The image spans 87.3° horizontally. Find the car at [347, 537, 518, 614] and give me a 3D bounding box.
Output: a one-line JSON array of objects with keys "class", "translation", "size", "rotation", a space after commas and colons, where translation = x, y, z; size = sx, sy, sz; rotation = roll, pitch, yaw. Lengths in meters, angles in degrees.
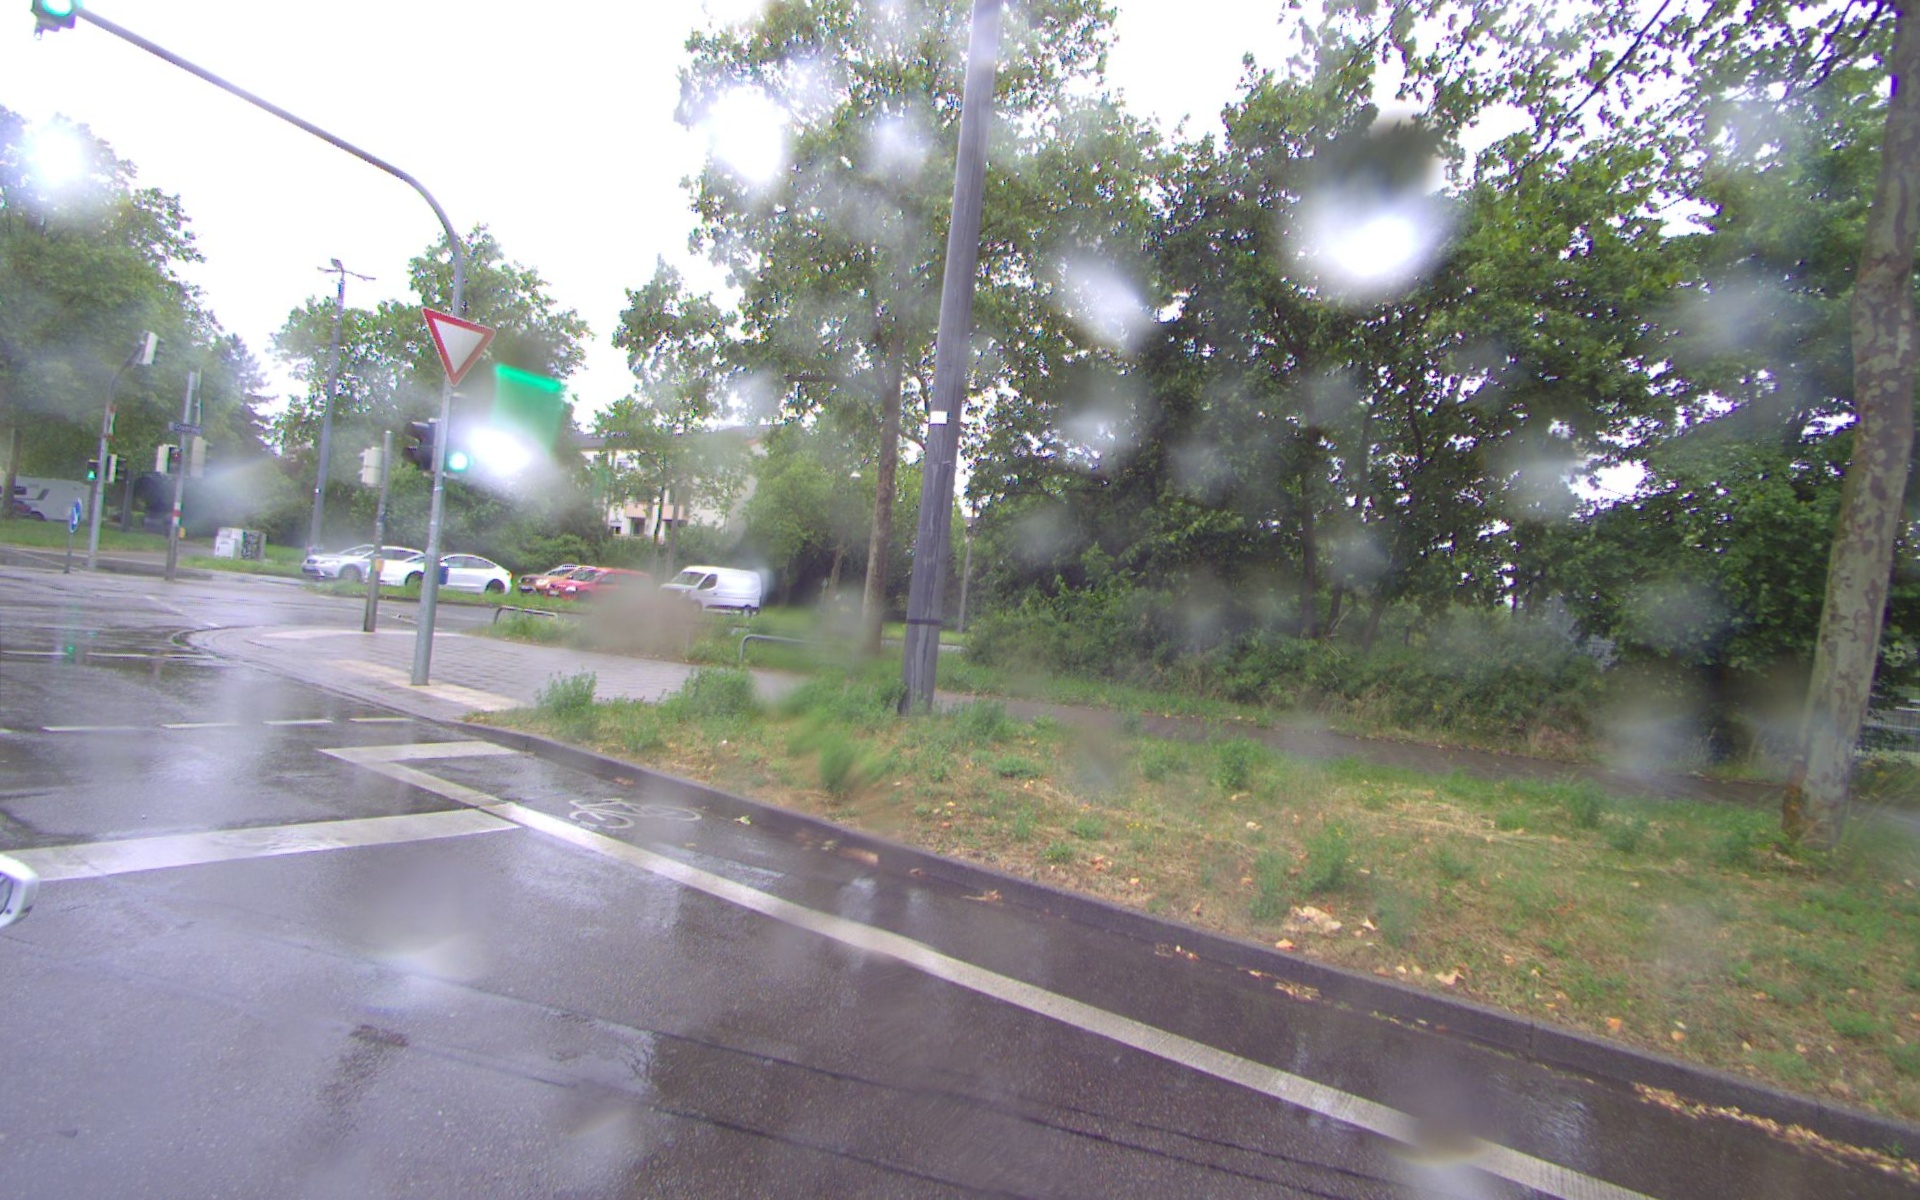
[{"class": "car", "translation": [-17.155, -0.741, 32.989], "size": [1.900, 1.849, 4.608], "rotation": [7, -2, 26]}]

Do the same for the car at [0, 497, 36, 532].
[{"class": "car", "translation": [-55.748, -5.130, 57.199], "size": [4.424, 1.736, 1.980], "rotation": [9, -2, -37]}]

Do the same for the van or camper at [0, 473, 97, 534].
[{"class": "van or camper", "translation": [-63.214, -6.681, 67.595], "size": [7.388, 3.215, 3.231], "rotation": [9, -2, -36]}]

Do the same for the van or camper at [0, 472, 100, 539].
[{"class": "van or camper", "translation": [-56.915, -5.904, 60.700], "size": [7.296, 3.215, 3.226], "rotation": [9, -2, -40]}]

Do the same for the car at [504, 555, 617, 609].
[{"class": "car", "translation": [-16.420, -0.694, 41.521], "size": [1.759, 1.625, 4.069], "rotation": [7, -2, 26]}]

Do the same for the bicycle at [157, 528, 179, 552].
[{"class": "bicycle", "translation": [-51.218, -3.888, 65.029], "size": [0.858, 1.441, 2.673], "rotation": [8, -2, -40]}]

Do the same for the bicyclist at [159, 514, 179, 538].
[{"class": "bicyclist", "translation": [-51.313, -4.799, 65.276], "size": [0.858, 1.441, 0.946], "rotation": [8, -2, -41]}]

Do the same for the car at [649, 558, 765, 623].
[{"class": "car", "translation": [-12.209, -0.385, 49.032], "size": [1.966, 2.419, 5.619], "rotation": [6, -2, 29]}]

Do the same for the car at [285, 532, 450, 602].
[{"class": "car", "translation": [-20.121, -1.057, 34.395], "size": [1.900, 1.710, 4.407], "rotation": [7, -2, 26]}]

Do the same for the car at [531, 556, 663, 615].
[{"class": "car", "translation": [-13.839, -0.498, 38.635], "size": [1.760, 1.625, 4.615], "rotation": [6, -2, 29]}]
